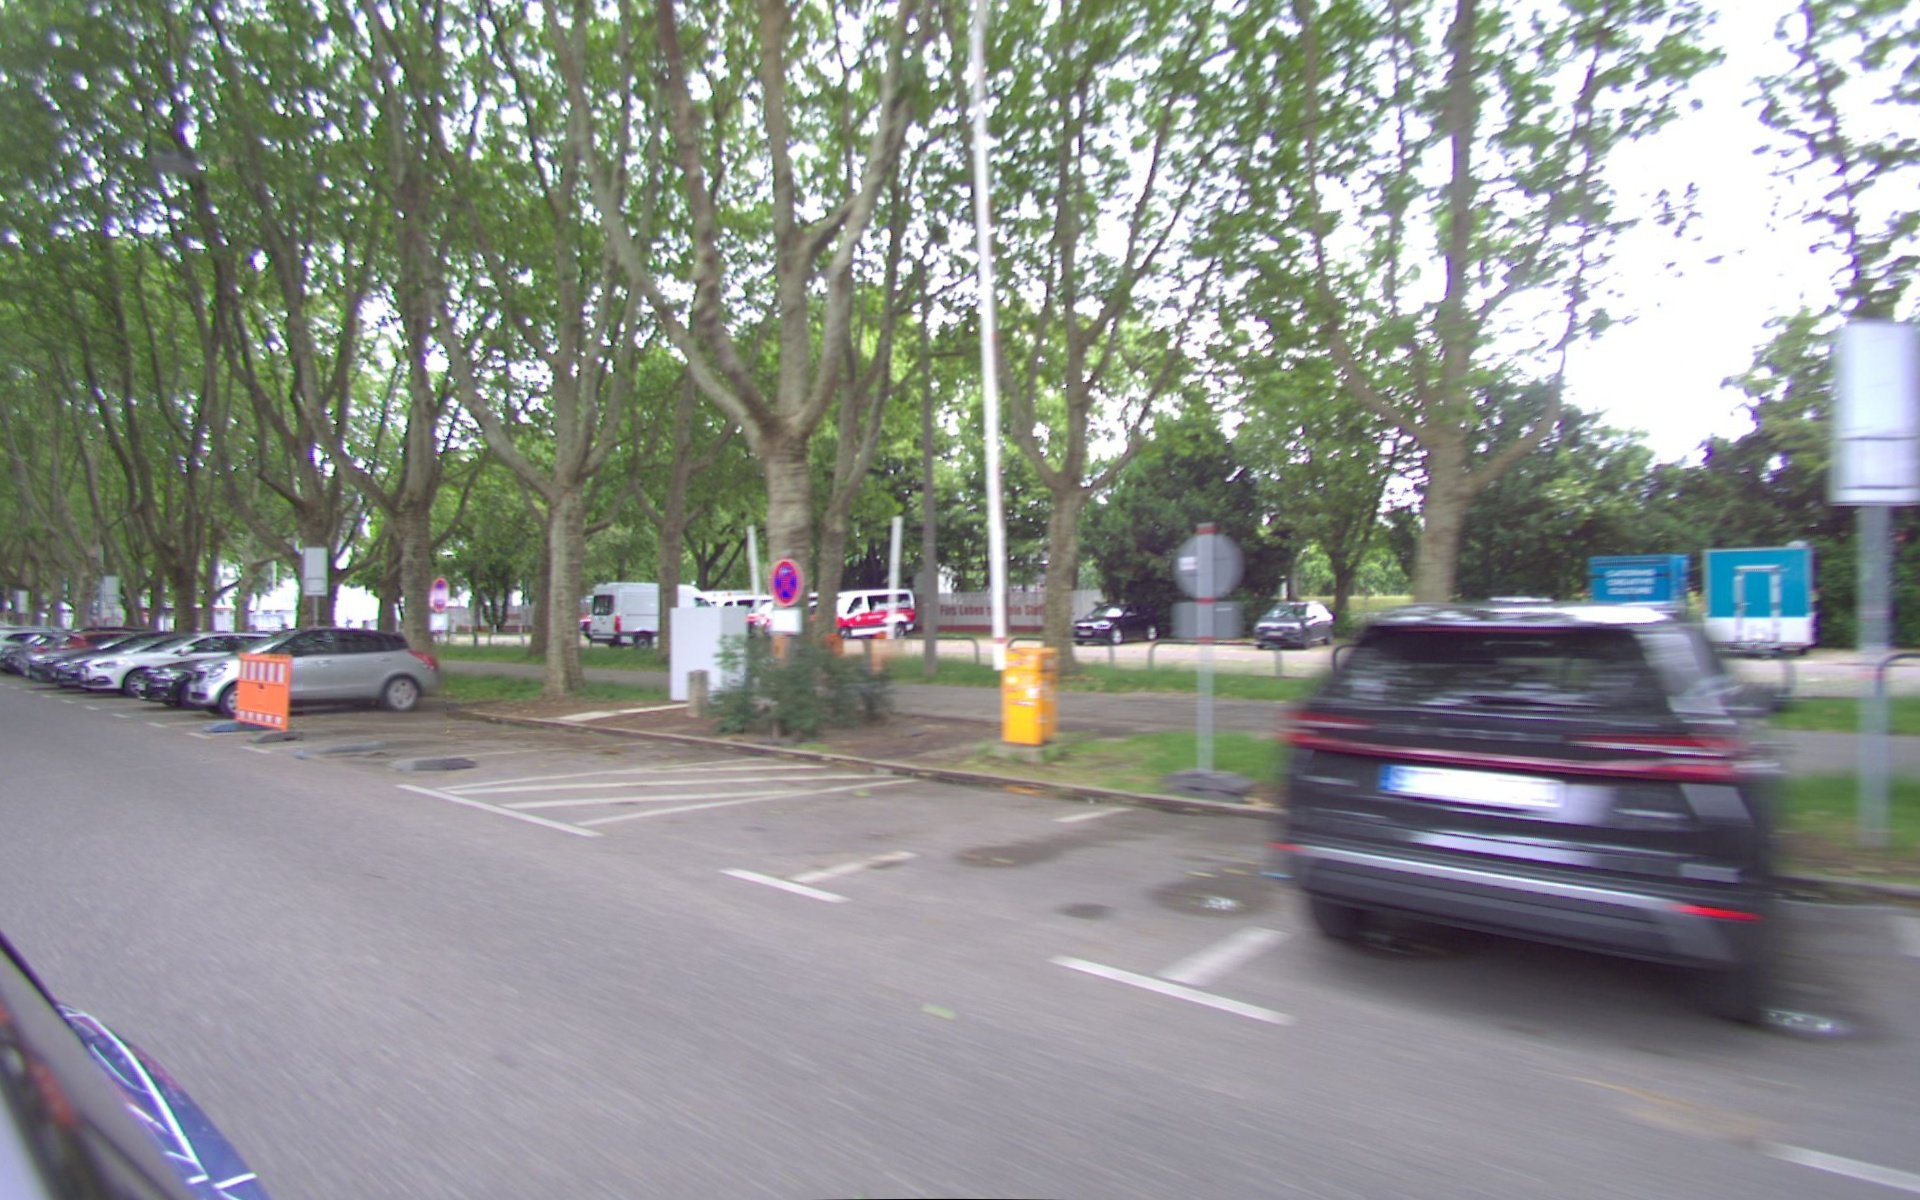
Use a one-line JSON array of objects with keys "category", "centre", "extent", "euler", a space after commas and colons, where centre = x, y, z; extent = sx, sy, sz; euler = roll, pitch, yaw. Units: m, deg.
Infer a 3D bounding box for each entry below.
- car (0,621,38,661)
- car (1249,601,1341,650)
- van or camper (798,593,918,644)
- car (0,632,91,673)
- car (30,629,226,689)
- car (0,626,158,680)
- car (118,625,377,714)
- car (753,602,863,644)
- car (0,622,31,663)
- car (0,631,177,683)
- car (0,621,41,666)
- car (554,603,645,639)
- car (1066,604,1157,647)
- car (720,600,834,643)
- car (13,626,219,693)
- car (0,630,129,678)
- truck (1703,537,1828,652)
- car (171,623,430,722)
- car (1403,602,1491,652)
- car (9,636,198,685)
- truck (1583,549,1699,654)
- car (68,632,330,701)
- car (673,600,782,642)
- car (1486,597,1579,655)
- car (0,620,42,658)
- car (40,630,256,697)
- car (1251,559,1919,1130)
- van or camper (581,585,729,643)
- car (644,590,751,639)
[{"category": "car", "centre": [-45.305, 1.943, 46.335], "extent": [2.001, 1.764, 4.431], "euler": [-1, 1, 45]}, {"category": "car", "centre": [11.280, 0.814, 33.898], "extent": [1.797, 1.498, 3.951], "euler": [-1, 0, 36]}, {"category": "van or camper", "centre": [-4.752, 0.818, 48.111], "extent": [2.327, 2.272, 5.647], "euler": [-1, 0, 40]}, {"category": "car", "centre": [-34.918, 1.942, 37.441], "extent": [2.000, 1.442, 3.944], "euler": [-3, -4, 42]}, {"category": "car", "centre": [-23.059, 1.607, 28.154], "extent": [1.873, 1.525, 3.944], "euler": [-2, -3, 42]}, {"category": "car", "centre": [-28.832, 1.727, 32.931], "extent": [2.000, 1.641, 3.975], "euler": [-3, -4, 42]}, {"category": "car", "centre": [-13.695, 1.296, 19.603], "extent": [1.675, 1.550, 3.797], "euler": [-2, -3, 42]}, {"category": "car", "centre": [-7.304, 1.083, 49.123], "extent": [1.997, 1.864, 5.400], "euler": [-1, 0, 38]}, {"category": "car", "centre": [-43.916, 1.950, 44.468], "extent": [2.001, 1.764, 4.431], "euler": [-1, 1, 45]}, {"category": "car", "centre": [-26.925, 1.756, 31.344], "extent": [2.000, 1.482, 3.944], "euler": [-3, -4, 42]}, {"category": "car", "centre": [-41.009, 1.889, 41.768], "extent": [2.001, 1.764, 4.431], "euler": [-1, 1, 45]}, {"category": "car", "centre": [-22.873, 1.312, 64.459], "extent": [1.997, 2.159, 5.202], "euler": [-1, 0, 38]}, {"category": "car", "centre": [5.796, 0.934, 38.506], "extent": [1.797, 1.498, 3.951], "euler": [-1, 0, 36]}, {"category": "car", "centre": [-9.130, 1.031, 50.856], "extent": [2.473, 2.013, 5.400], "euler": [-1, 0, 38]}, {"category": "car", "centre": [-21.494, 1.493, 25.860], "extent": [1.847, 1.581, 3.797], "euler": [-2, -3, 42]}, {"category": "car", "centre": [-30.741, 1.817, 34.116], "extent": [1.799, 1.539, 3.986], "euler": [-3, -4, 42]}, {"category": "truck", "centre": [20.990, -0.137, 26.419], "extent": [2.374, 2.737, 3.948], "euler": [-1, 0, 39]}, {"category": "car", "centre": [-11.723, 1.243, 18.127], "extent": [1.847, 1.590, 3.518], "euler": [-2, -3, 42]}, {"category": "car", "centre": [14.933, 0.775, 30.913], "extent": [1.726, 1.387, 3.967], "euler": [-1, 0, 36]}, {"category": "car", "centre": [-24.850, 1.744, 29.449], "extent": [2.000, 1.320, 3.944], "euler": [-3, -4, 42]}, {"category": "truck", "centre": [18.589, 0.031, 27.562], "extent": [2.121, 2.628, 3.945], "euler": [-1, 0, 41]}, {"category": "car", "centre": [-17.427, 1.480, 23.345], "extent": [2.090, 1.445, 4.515], "euler": [-2, -3, 42]}, {"category": "car", "centre": [-12.403, 1.076, 54.275], "extent": [2.390, 2.036, 5.400], "euler": [-1, 0, 38]}, {"category": "car", "centre": [16.522, 0.711, 29.125], "extent": [1.731, 1.519, 3.948], "euler": [-1, 0, 39]}, {"category": "car", "centre": [-47.540, 1.967, 49.030], "extent": [2.001, 1.764, 4.431], "euler": [-1, 1, 45]}, {"category": "car", "centre": [-19.476, 1.492, 24.376], "extent": [1.847, 1.486, 3.797], "euler": [-2, -3, 42]}, {"category": "car", "centre": [3.312, 0.789, 5.256], "extent": [2.044, 1.639, 4.367], "euler": [-2, -3, 37]}, {"category": "van or camper", "centre": [-11.885, 0.503, 39.775], "extent": [2.241, 2.115, 5.235], "euler": [-1, 0, 38]}, {"category": "car", "centre": [-14.474, 0.748, 56.003], "extent": [2.390, 2.535, 5.400], "euler": [-1, 0, 38]}]
